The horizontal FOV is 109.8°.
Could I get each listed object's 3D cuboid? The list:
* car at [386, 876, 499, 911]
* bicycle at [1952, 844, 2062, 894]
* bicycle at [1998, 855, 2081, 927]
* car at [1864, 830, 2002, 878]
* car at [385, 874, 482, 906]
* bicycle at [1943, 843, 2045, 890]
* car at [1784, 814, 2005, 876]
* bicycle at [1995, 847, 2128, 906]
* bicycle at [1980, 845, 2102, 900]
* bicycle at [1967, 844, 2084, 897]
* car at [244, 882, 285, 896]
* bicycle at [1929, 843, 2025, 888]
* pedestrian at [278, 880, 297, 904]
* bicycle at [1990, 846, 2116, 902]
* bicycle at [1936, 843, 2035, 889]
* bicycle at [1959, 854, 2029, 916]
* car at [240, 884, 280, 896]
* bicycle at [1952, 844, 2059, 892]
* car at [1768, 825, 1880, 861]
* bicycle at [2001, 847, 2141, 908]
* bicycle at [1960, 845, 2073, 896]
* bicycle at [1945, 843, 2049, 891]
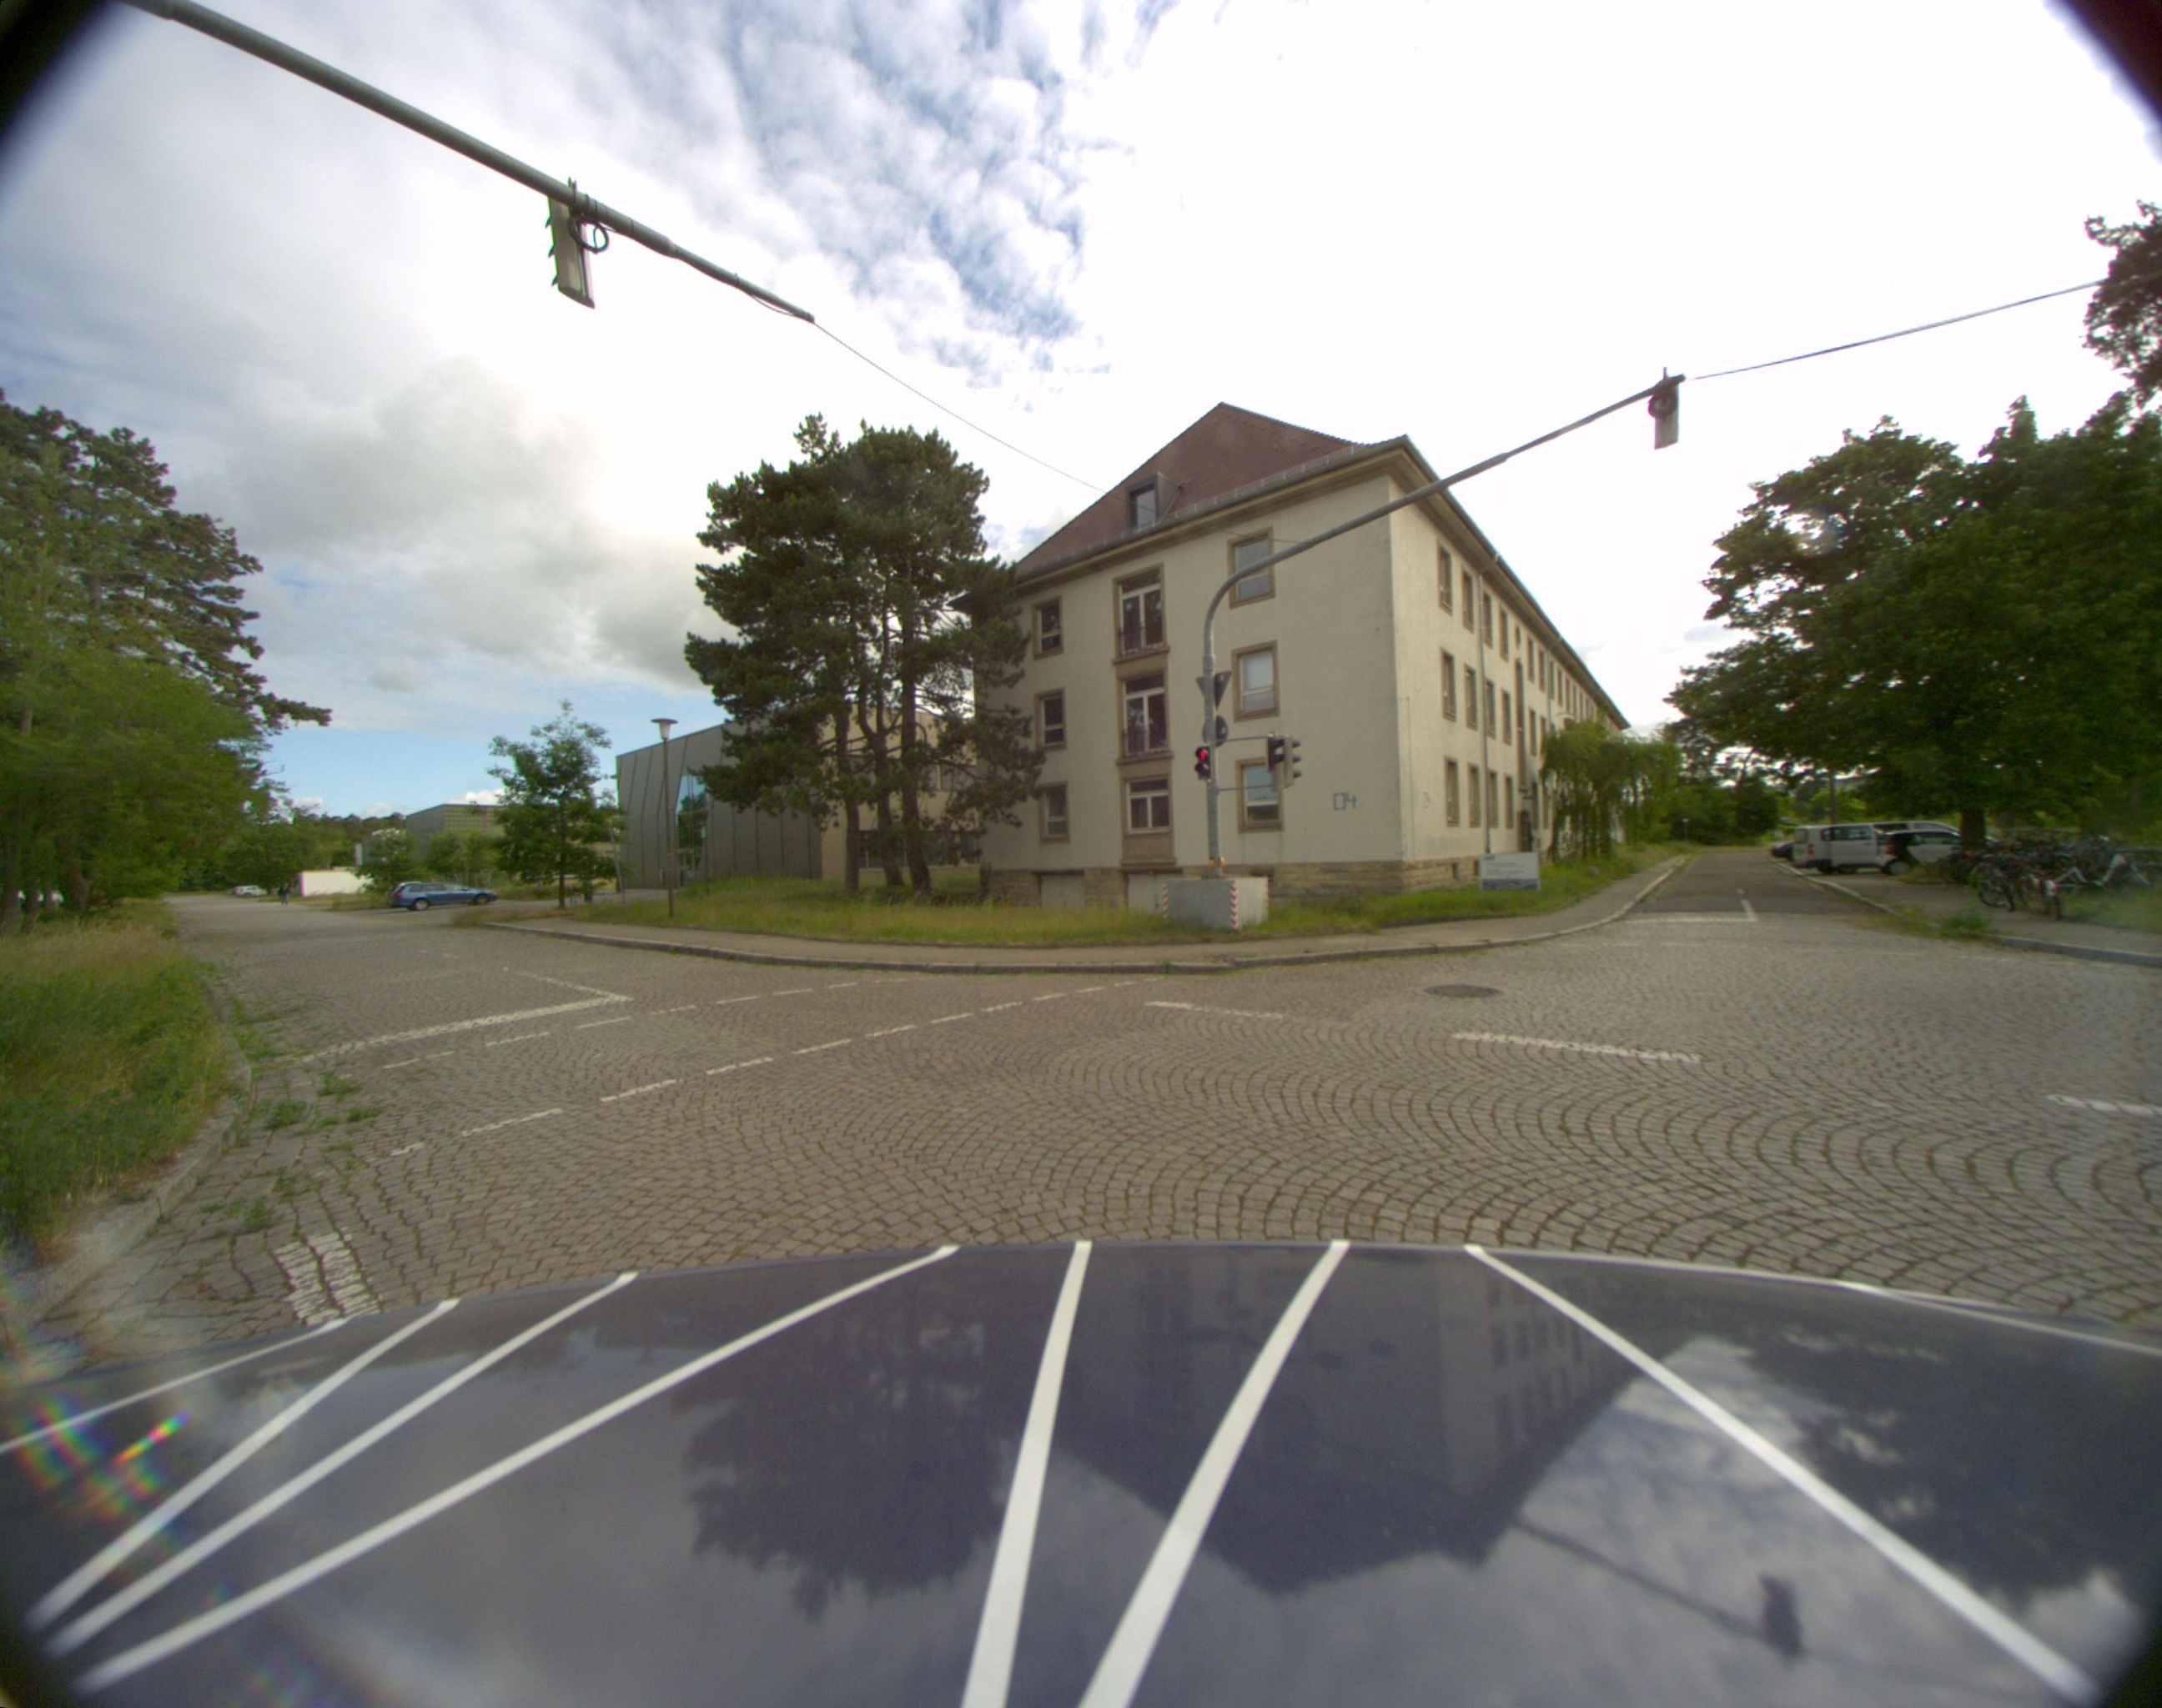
[{"bbox_3d":[-35.282,2.164,42.090,1.833,1.455,4.425,-1,3,38],"label":"car"},{"bbox_3d":[21.055,0.355,17.317,1.454,1.032,0.499,-5,-1,35],"label":"bicycle"},{"bbox_3d":[15.759,0.591,12.526,0.496,1.068,1.419,-5,-1,39],"label":"bicycle"},{"bbox_3d":[28.230,0.008,25.292,2.766,1.407,1.595,-5,-2,39],"label":"car"},{"bbox_3d":[-40.411,2.213,47.511,1.833,1.578,4.202,-1,3,38],"label":"car"},{"bbox_3d":[22.205,0.301,18.509,1.454,1.032,0.499,-5,-1,35],"label":"bicycle"},{"bbox_3d":[29.922,-0.287,28.228,5.159,1.905,2.039,-4,-1,27],"label":"car"},{"bbox_3d":[18.998,0.442,14.766,1.454,1.032,0.499,-5,-1,35],"label":"bicycle"},{"bbox_3d":[20.110,0.395,15.951,1.454,1.032,0.499,-5,-1,35],"label":"bicycle"},{"bbox_3d":[20.498,0.362,16.528,1.454,1.032,0.499,-5,-1,35],"label":"bicycle"},{"bbox_3d":[-123.425,5.265,114.867,1.781,1.828,4.090,-1,1,42],"label":"car"},{"bbox_3d":[22.764,0.294,19.343,1.454,1.032,0.499,-5,-1,35],"label":"bicycle"},{"bbox_3d":[-59.194,2.804,56.699,1.004,1.713,0.877,-1,1,42],"label":"pedestrian"},{"bbox_3d":[19.758,0.417,15.482,1.454,1.032,0.499,-5,-1,35],"label":"bicycle"},{"bbox_3d":[22.502,0.301,18.942,1.454,1.032,0.499,-5,-1,35],"label":"bicycle"},{"bbox_3d":[16.642,0.551,13.882,0.496,1.032,1.419,-5,-1,39],"label":"bicycle"},{"bbox_3d":[-125.373,5.473,116.061,1.781,1.565,4.090,-1,1,42],"label":"car"},{"bbox_3d":[21.539,0.333,17.737,1.454,1.032,0.499,-5,-1,35],"label":"bicycle"},{"bbox_3d":[40.742,-0.588,41.808,4.082,1.757,1.833,-2,2,32],"label":"car"},{"bbox_3d":[18.441,0.451,14.193,1.454,1.032,0.499,-5,-1,32],"label":"bicycle"},{"bbox_3d":[20.774,0.379,16.910,1.454,1.032,0.499,-5,-1,35],"label":"bicycle"},{"bbox_3d":[21.821,0.315,18.141,1.454,1.032,0.499,-5,-1,35],"label":"bicycle"}]
